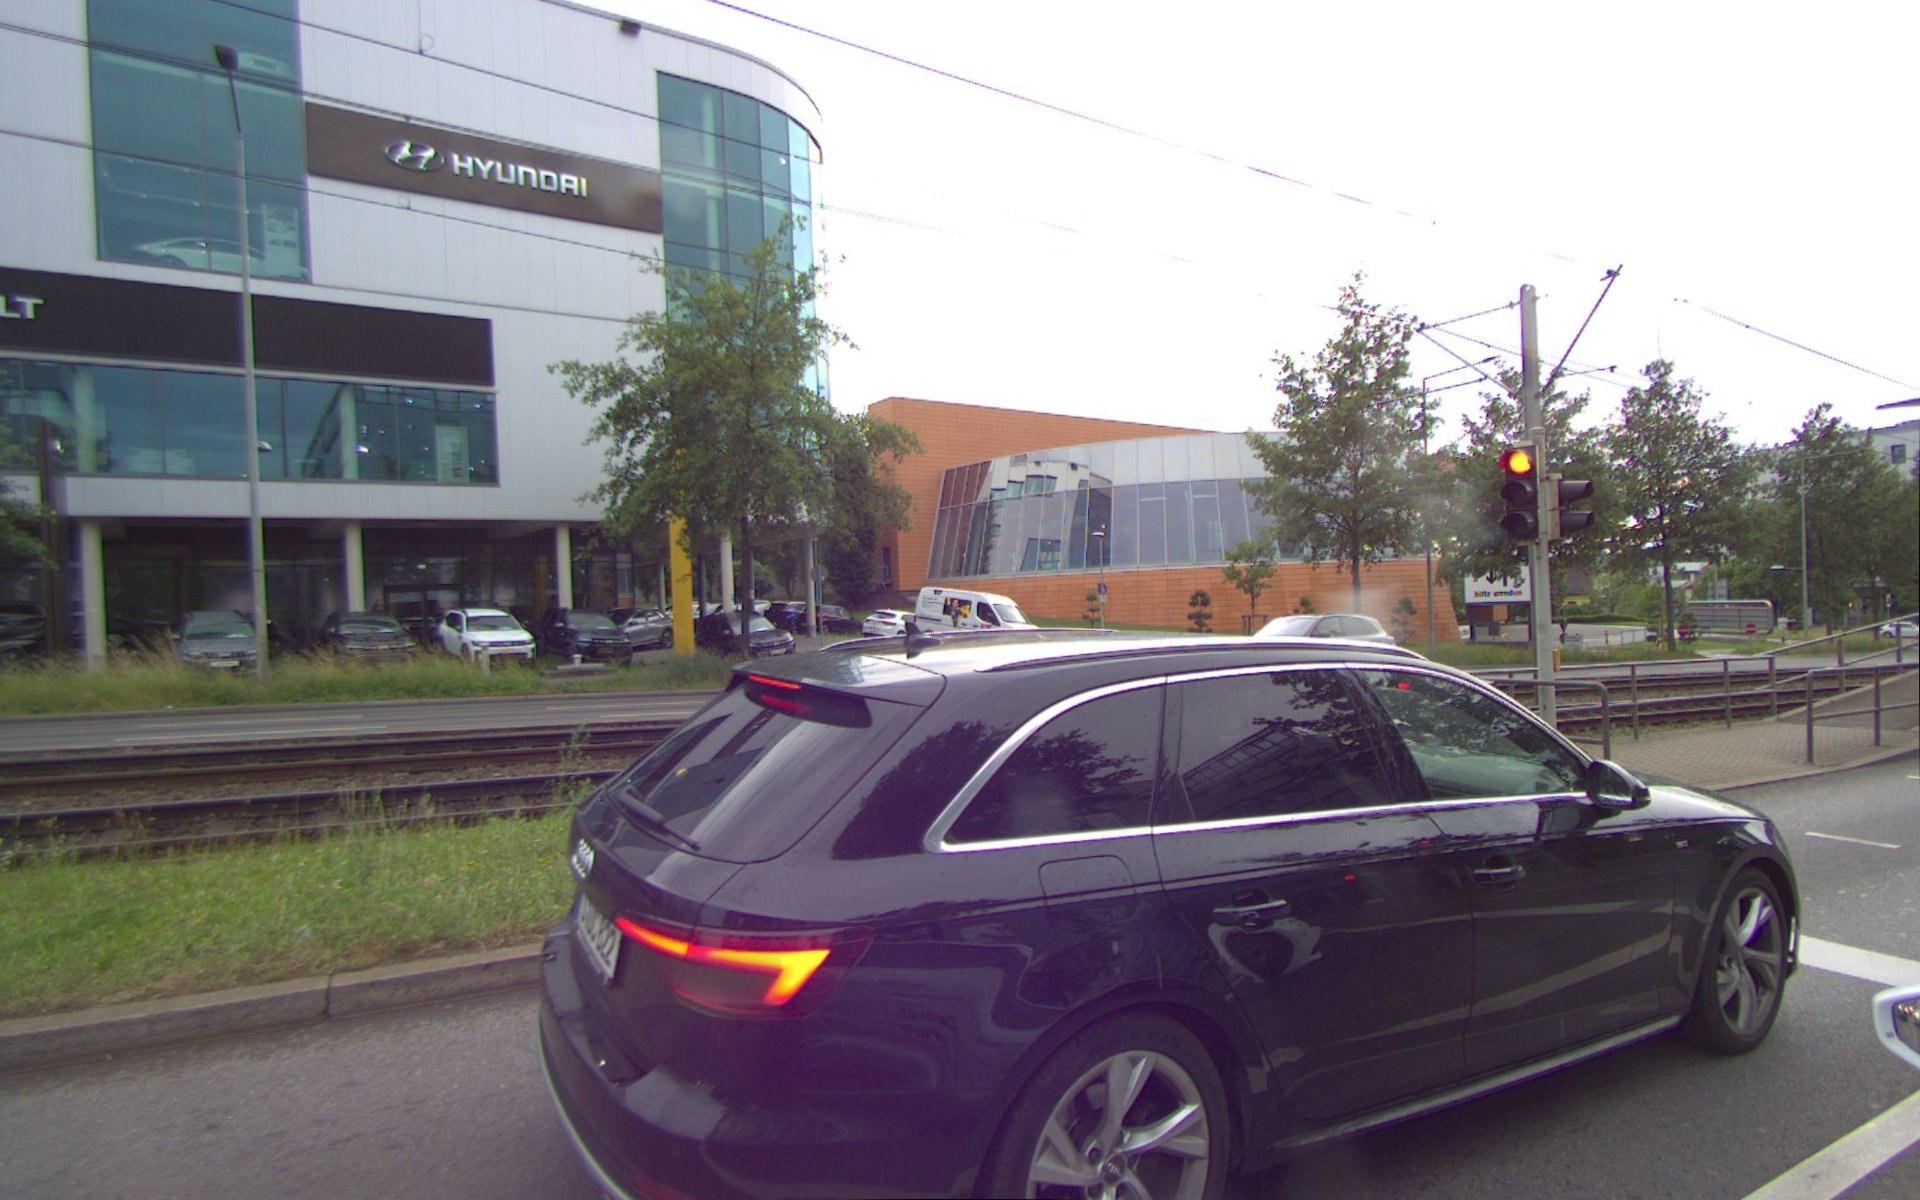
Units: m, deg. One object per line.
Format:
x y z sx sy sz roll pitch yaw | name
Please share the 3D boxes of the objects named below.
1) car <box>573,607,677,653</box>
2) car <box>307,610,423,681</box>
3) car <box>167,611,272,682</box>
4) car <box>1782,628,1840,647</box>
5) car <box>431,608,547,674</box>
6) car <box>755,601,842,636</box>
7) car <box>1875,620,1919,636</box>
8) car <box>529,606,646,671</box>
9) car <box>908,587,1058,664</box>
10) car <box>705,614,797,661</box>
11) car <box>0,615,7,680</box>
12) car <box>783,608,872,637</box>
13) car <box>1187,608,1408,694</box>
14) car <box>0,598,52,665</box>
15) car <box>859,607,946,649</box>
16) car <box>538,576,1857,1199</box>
-11.902 1.033 35.903 1.691 1.572 3.587 0 -1 20 | car
-16.026 1.146 26.954 1.984 1.571 4.324 1 1 -40 | car
-18.935 1.109 25.627 1.917 1.479 3.974 1 1 -40 | car
67.123 2.944 79.292 1.408 1.405 3.371 0 0 -13 | car
-13.568 1.106 28.810 1.984 1.571 4.324 1 1 -40 | car
-7.939 0.906 49.642 1.969 1.653 3.982 0 -1 39 | car
87.685 2.578 93.114 1.645 1.455 4.050 2 -4 -44 | car
-11.351 1.102 30.427 1.984 1.637 4.324 1 2 -40 | car
0.810 0.898 38.674 5.544 2.616 2.392 3 1 43 | car
-6.758 1.157 32.266 1.565 1.409 3.619 0 -1 -36 | car
-23.310 1.172 22.984 1.906 1.479 3.998 1 1 -40 | car
-6.283 1.057 48.073 1.969 1.297 3.982 0 -1 39 | car
7.543 1.103 22.349 4.783 1.742 1.985 1 -3 -30 | car
-27.410 0.838 26.623 1.962 1.806 4.544 0 -1 23 | car
-2.410 1.150 42.724 1.703 1.688 3.734 0 -1 38 | car
1.064 0.739 3.459 4.461 1.486 1.772 1 -1 -31 | car
